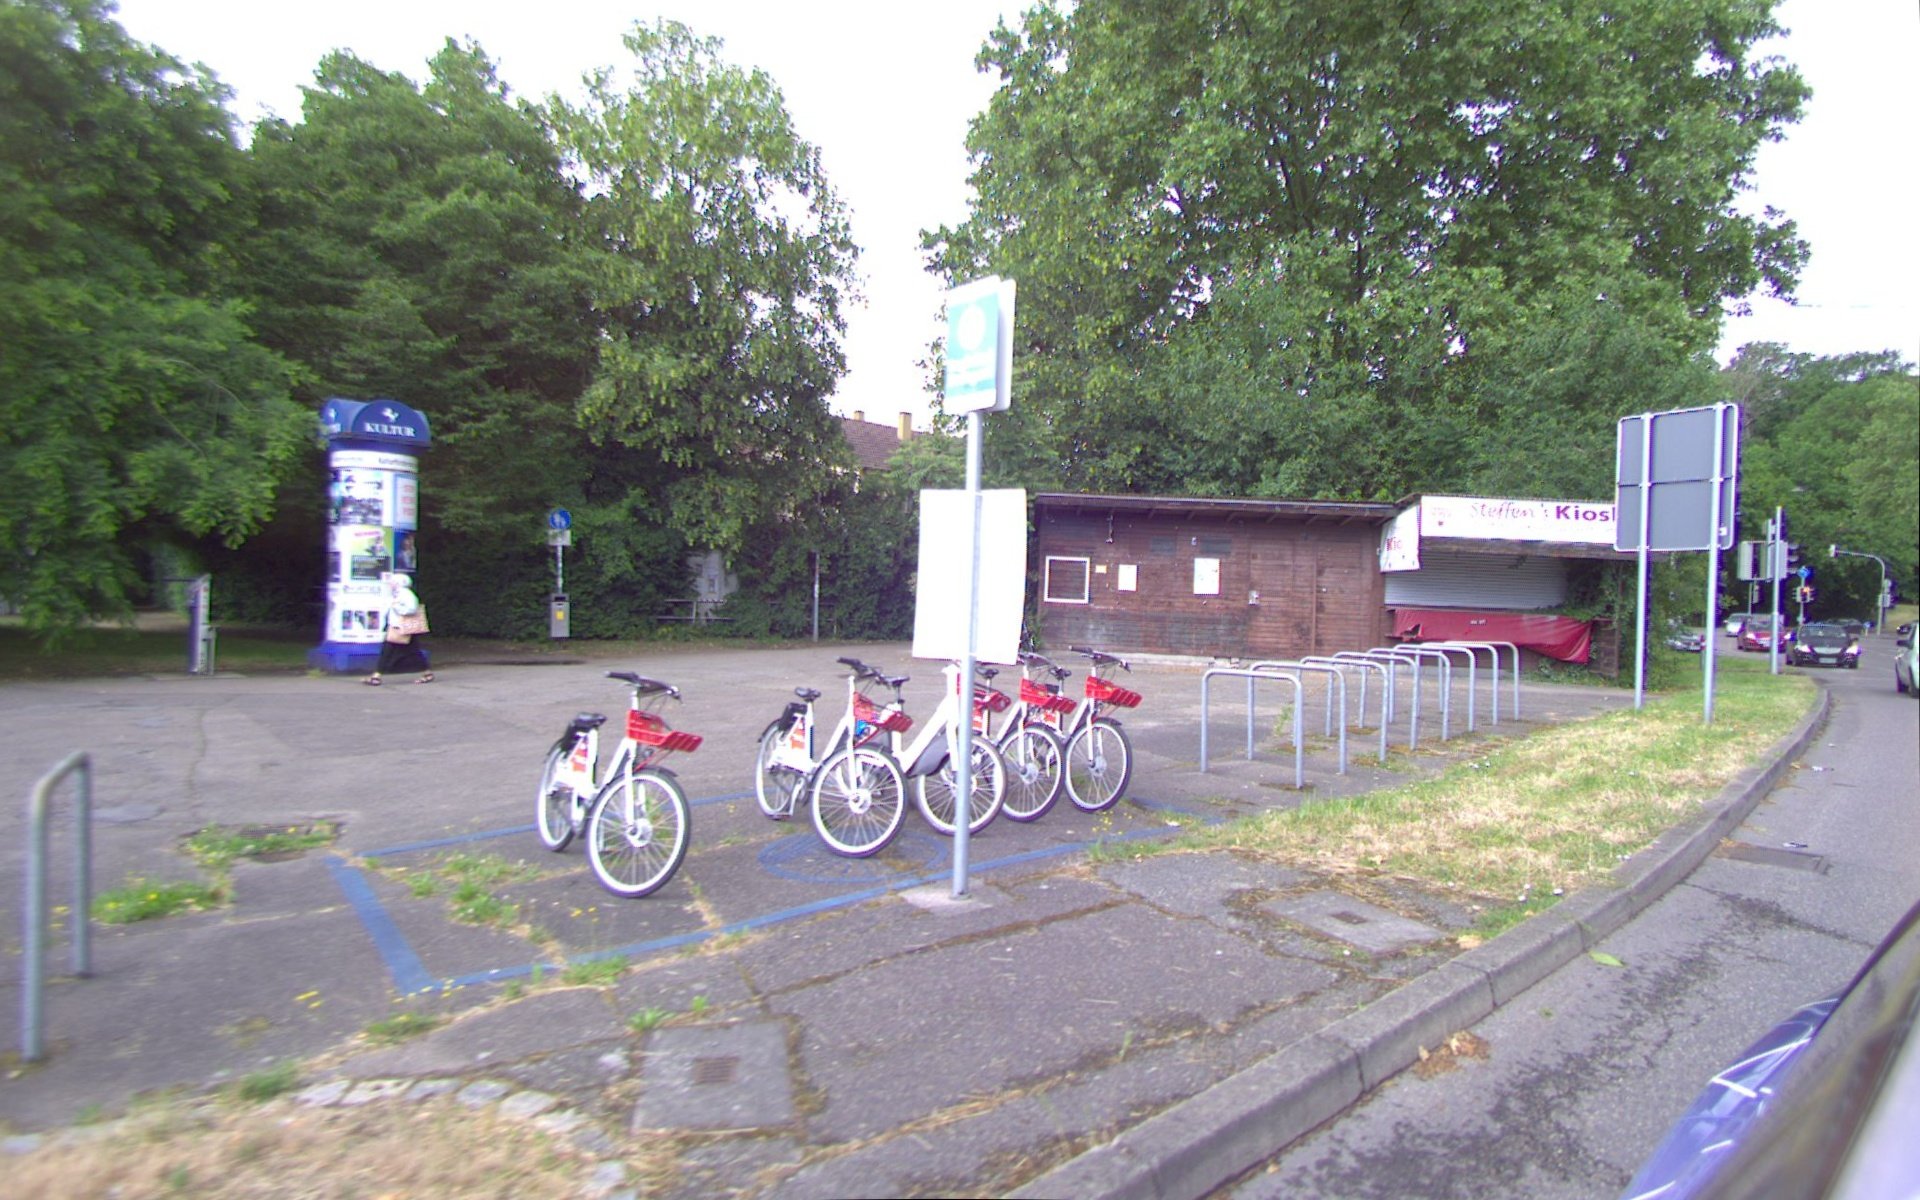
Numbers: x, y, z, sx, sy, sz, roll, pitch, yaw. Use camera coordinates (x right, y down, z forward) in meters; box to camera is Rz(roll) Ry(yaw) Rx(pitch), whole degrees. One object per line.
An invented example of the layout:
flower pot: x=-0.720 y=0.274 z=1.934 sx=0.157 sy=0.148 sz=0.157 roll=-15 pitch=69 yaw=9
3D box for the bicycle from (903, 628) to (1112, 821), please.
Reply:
bicycle: x=0.280 y=0.811 z=7.241 sx=0.447 sy=1.125 sz=1.784 roll=0 pitch=1 yaw=-37

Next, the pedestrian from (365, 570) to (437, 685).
pedestrian: x=-7.748 y=0.366 z=14.022 sx=0.764 sy=1.550 sz=0.511 roll=1 pitch=0 yaw=-41

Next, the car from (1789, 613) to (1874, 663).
car: x=31.843 y=1.337 z=37.083 sx=1.719 sy=1.539 sz=3.954 roll=3 pitch=2 yaw=32

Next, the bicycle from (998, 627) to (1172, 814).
bicycle: x=0.870 y=0.818 z=7.555 sx=0.417 sy=1.124 sz=1.788 roll=0 pitch=2 yaw=-23

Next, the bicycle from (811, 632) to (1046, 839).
bicycle: x=-0.269 y=0.830 z=6.830 sx=0.570 sy=1.125 sz=1.781 roll=1 pitch=1 yaw=-42

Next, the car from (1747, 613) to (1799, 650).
car: x=41.059 y=1.556 z=51.176 sx=1.666 sy=1.662 sz=4.049 roll=3 pitch=2 yaw=35

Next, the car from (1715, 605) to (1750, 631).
car: x=53.091 y=1.221 z=69.522 sx=1.776 sy=1.588 sz=3.945 roll=3 pitch=2 yaw=38

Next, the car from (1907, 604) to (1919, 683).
car: x=19.420 y=0.879 z=19.335 sx=1.621 sy=1.527 sz=3.943 roll=2 pitch=-1 yaw=39

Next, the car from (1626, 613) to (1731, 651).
car: x=29.974 y=1.300 z=42.358 sx=1.703 sy=1.447 sz=4.106 roll=2 pitch=0 yaw=5

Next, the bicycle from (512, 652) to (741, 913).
bicycle: x=-1.917 y=0.907 z=5.645 sx=0.544 sy=1.125 sz=1.781 roll=1 pitch=0 yaw=-42

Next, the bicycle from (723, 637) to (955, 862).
bicycle: x=-0.818 y=0.854 z=6.394 sx=0.531 sy=1.124 sz=1.781 roll=-1 pitch=2 yaw=-42
